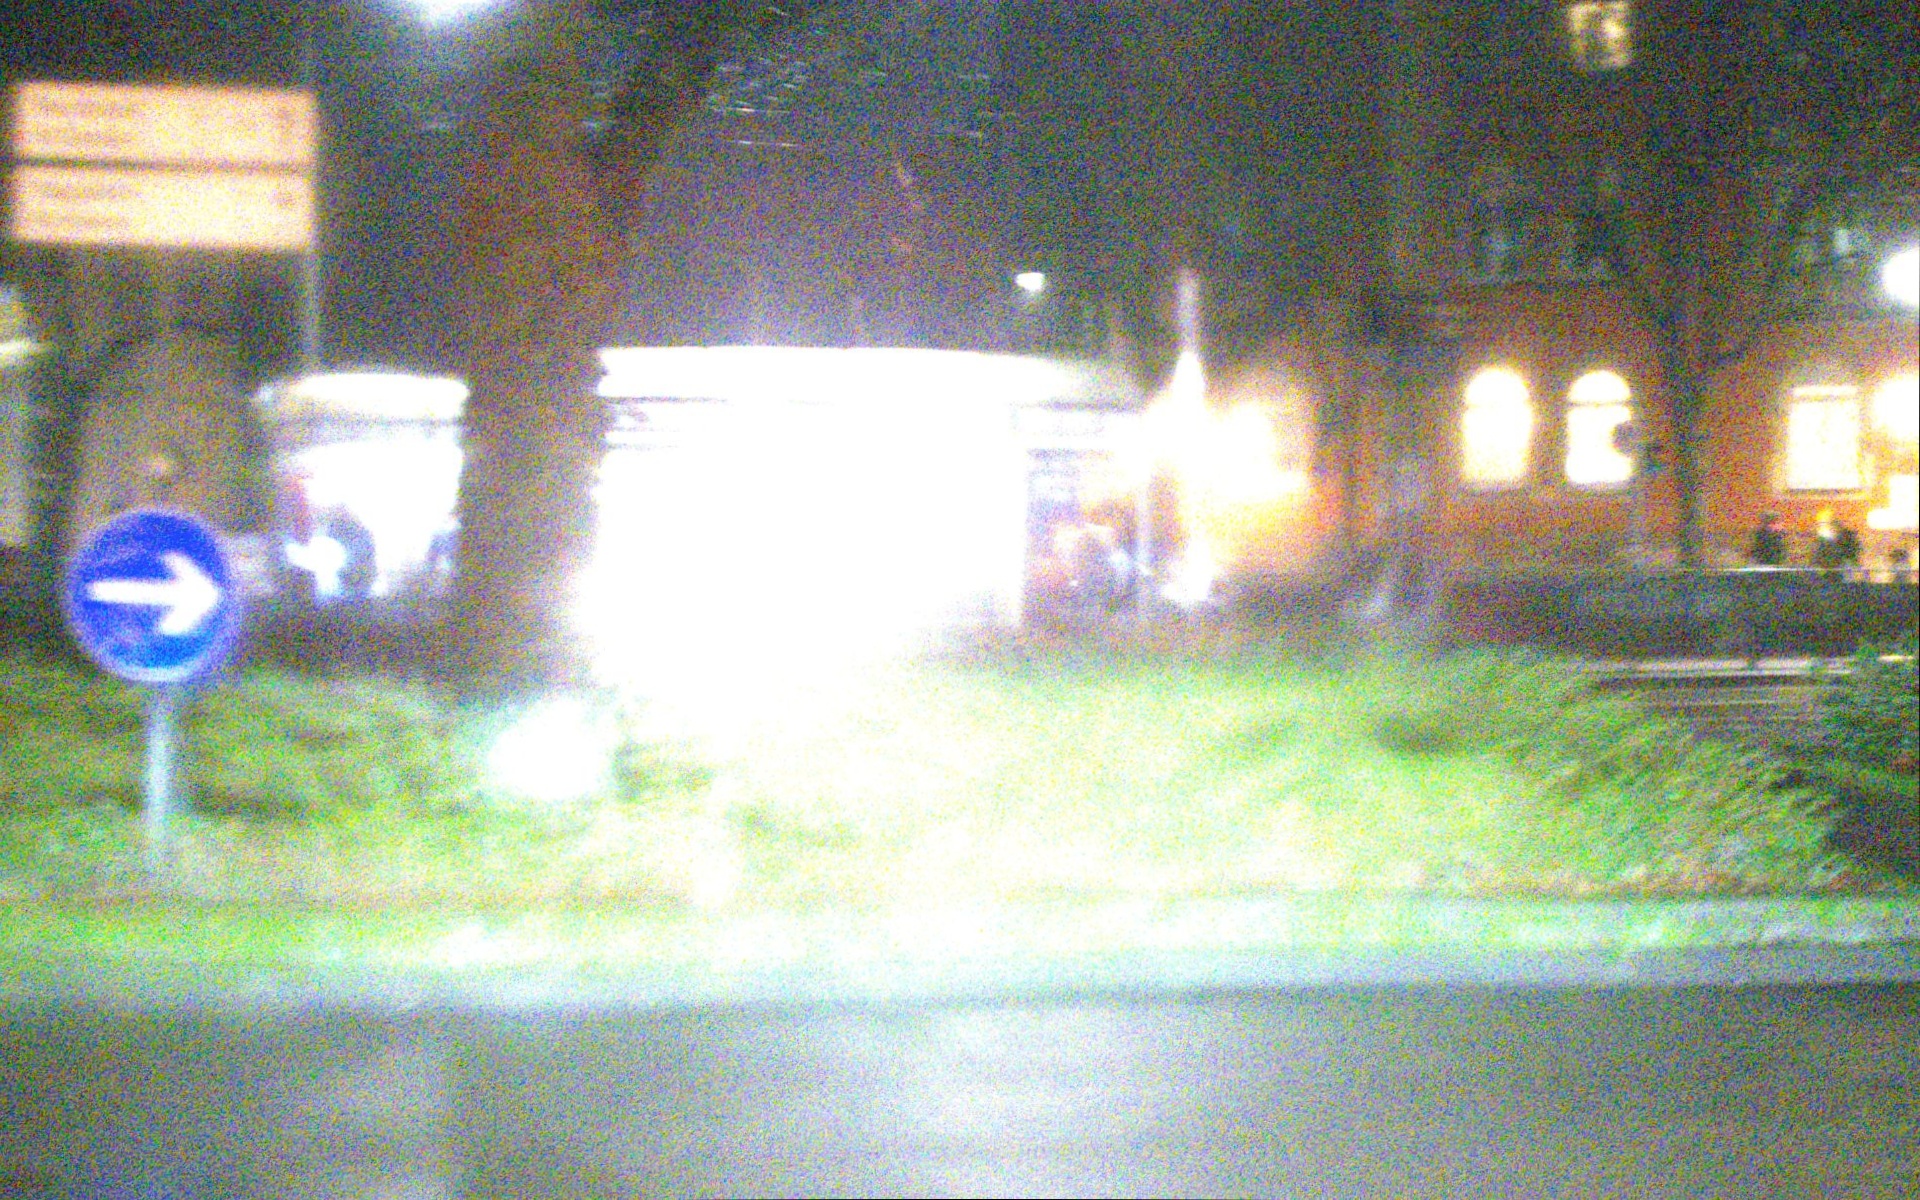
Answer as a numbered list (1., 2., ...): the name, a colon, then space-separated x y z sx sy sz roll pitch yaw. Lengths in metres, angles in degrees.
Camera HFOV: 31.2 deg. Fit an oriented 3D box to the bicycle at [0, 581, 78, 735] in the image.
1. bicycle: -6.378 0.334 21.067 1.778 0.928 0.500 2 1 -27
